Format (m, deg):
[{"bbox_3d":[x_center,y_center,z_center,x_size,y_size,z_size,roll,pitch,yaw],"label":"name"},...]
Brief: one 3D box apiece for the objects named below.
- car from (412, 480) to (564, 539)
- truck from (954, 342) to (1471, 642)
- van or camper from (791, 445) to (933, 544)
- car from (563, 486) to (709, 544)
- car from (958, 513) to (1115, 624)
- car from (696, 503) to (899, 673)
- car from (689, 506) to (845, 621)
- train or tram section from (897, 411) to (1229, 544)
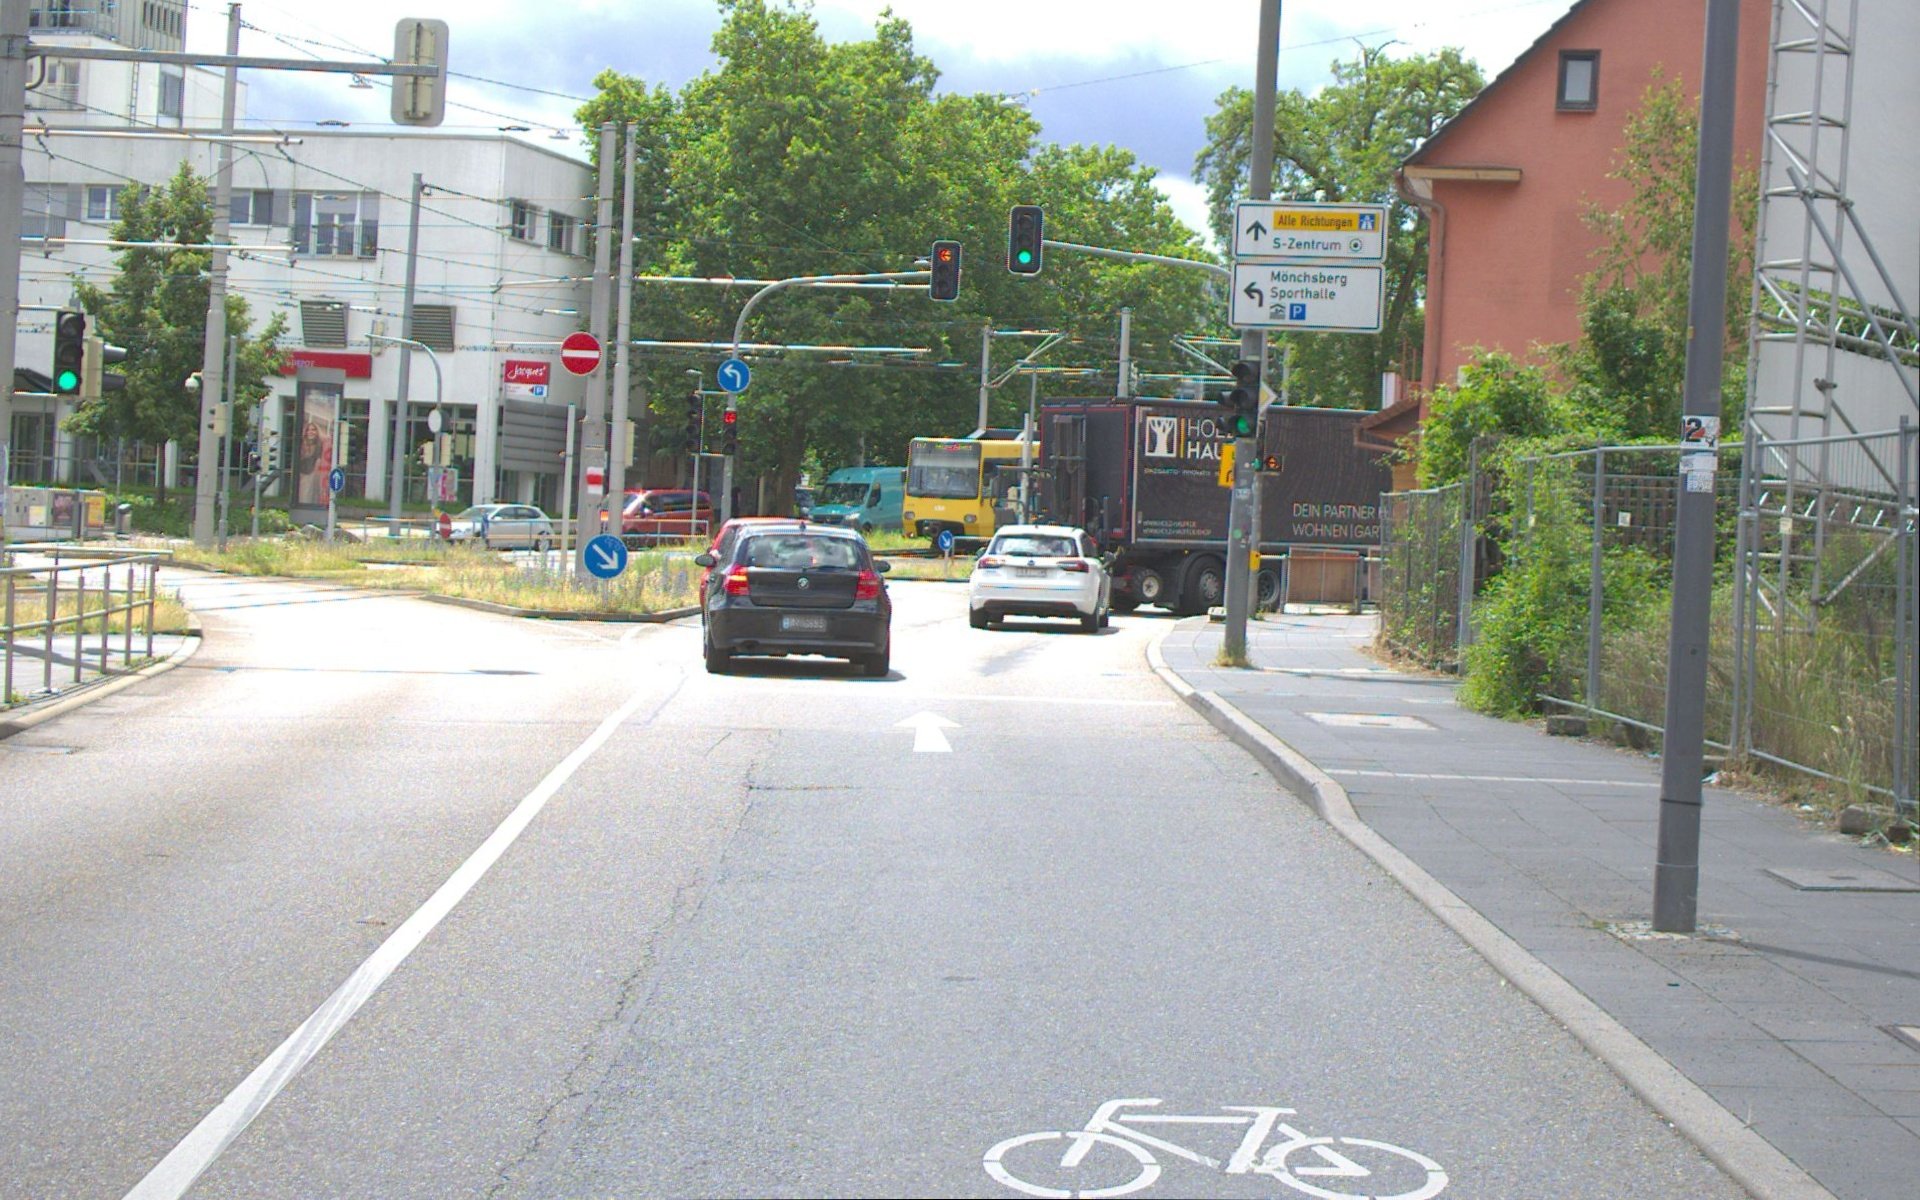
[{"bbox_3d":[-13.710,-2.628,99.910,1.998,1.459,3.990,4,1,40],"label":"car"},{"bbox_3d":[4.587,-1.828,60.959,9.000,4.520,3.213,4,0,-38],"label":"truck"},{"bbox_3d":[-3.251,-3.528,115.871,2.178,2.795,6.061,4,-1,24],"label":"van or camper"},{"bbox_3d":[-9.878,-2.596,104.963,1.998,1.594,4.189,4,2,40],"label":"car"},{"bbox_3d":[1.147,-0.451,49.557,1.888,1.460,4.068,2,1,6],"label":"car"},{"bbox_3d":[-1.623,-0.157,33.201,1.726,1.451,3.810,2,2,-5],"label":"car"},{"bbox_3d":[-2.530,-0.519,45.838,1.712,1.388,3.809,3,2,2],"label":"car"},{"bbox_3d":[3.651,-3.782,110.217,2.701,3.737,18.333,4,2,28],"label":"train or tram section"}]
